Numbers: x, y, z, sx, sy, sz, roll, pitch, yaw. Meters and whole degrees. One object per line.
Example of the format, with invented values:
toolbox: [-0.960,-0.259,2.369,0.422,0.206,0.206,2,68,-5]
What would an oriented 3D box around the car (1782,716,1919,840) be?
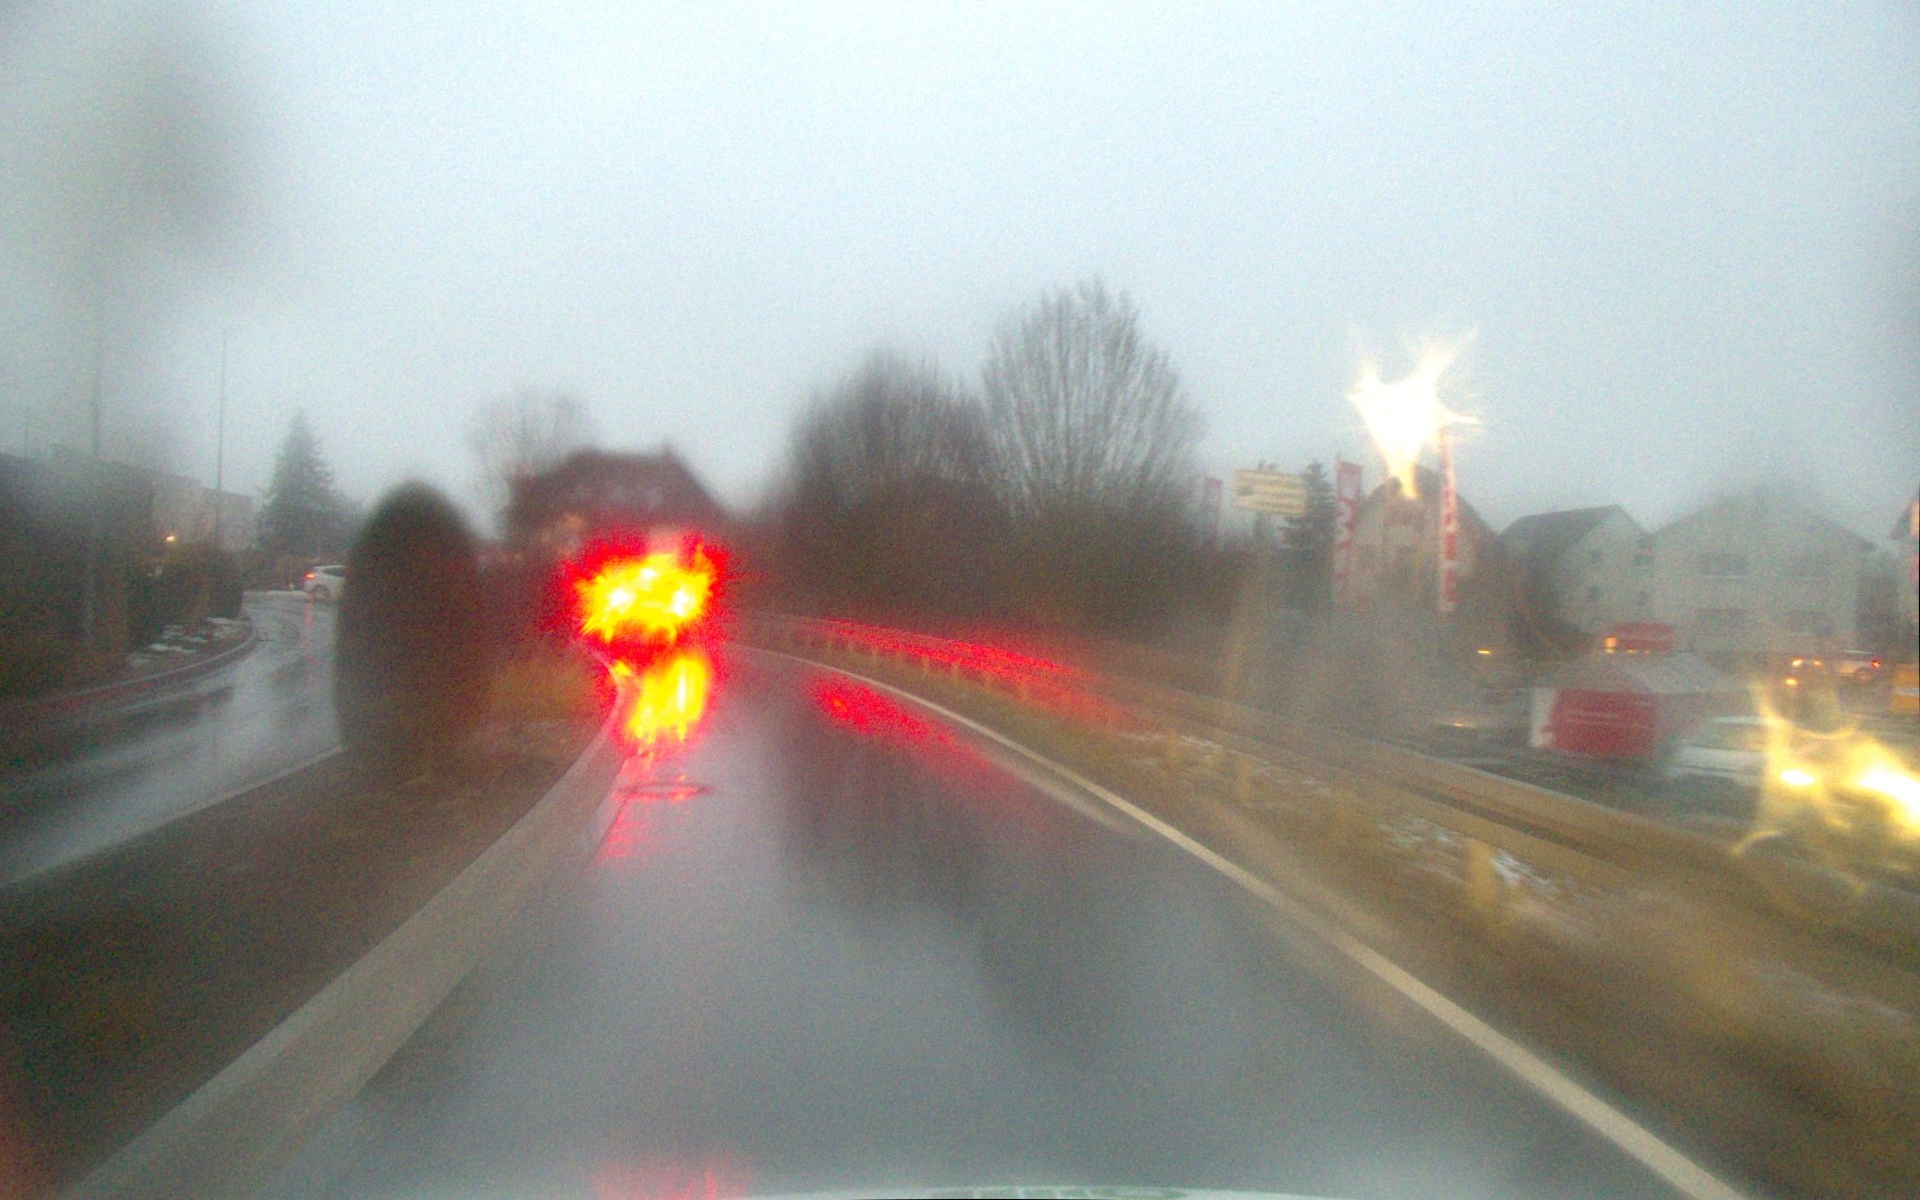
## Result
car: [13.783,2.589,24.823,1.603,1.445,3.976,1,0,42]

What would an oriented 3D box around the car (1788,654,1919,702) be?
car: [28.798,2.491,53.248,3.764,1.346,1.772,1,0,26]

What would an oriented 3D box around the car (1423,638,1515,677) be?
car: [23.959,2.688,77.884,3.908,1.690,1.942,1,0,26]

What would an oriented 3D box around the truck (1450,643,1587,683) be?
truck: [25.183,2.803,74.584,5.656,1.574,1.941,1,0,26]

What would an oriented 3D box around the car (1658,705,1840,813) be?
car: [13.471,2.633,28.125,1.765,1.464,3.976,1,0,42]

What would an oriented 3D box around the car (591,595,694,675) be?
car: [-7.582,0.790,39.248,1.914,1.748,3.980,2,0,-18]

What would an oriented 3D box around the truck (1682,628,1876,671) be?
truck: [40.376,2.422,81.718,8.471,1.847,2.411,1,0,28]

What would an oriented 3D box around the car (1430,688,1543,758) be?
car: [12.088,2.782,37.869,1.365,1.336,3.192,1,0,40]

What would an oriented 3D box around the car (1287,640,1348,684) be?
car: [14.433,2.482,66.900,1.896,1.574,4.002,1,0,5]

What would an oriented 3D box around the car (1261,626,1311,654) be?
car: [18.654,2.281,94.516,1.872,1.512,3.996,0,0,26]
